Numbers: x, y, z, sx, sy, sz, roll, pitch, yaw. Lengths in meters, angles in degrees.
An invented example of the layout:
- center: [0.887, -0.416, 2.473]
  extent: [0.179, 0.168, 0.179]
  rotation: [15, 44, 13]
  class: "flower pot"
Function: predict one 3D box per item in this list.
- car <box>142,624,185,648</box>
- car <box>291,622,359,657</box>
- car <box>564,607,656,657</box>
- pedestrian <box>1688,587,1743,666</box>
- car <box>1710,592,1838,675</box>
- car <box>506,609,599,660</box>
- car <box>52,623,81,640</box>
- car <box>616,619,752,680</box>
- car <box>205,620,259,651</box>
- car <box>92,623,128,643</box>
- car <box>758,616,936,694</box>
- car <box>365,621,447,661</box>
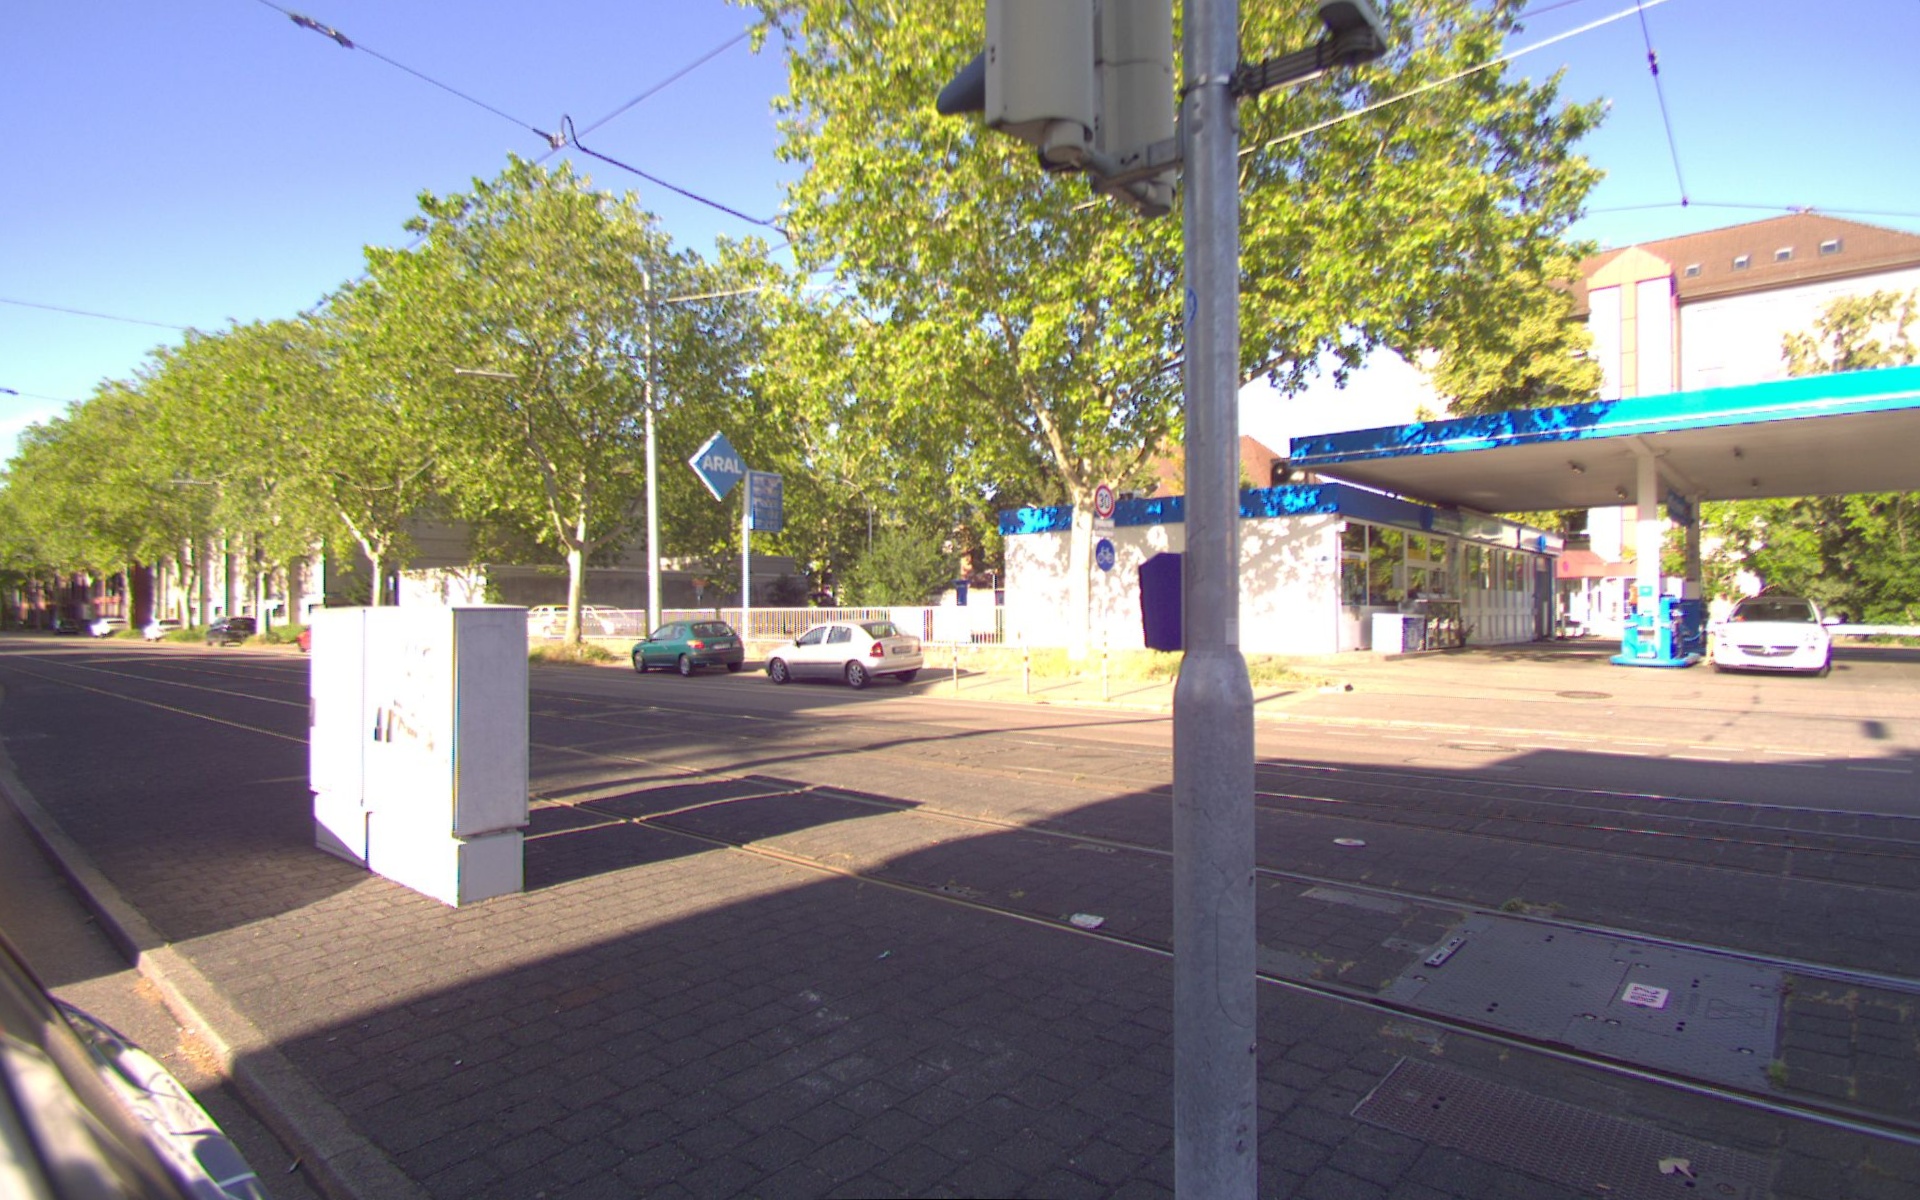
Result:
- center: [-53.635, 2.401, 68.128]
  extent: [3.858, 1.495, 1.735]
  rotation: [-1, 0, 43]
  class: "car"
- center: [-28.909, 1.777, 46.051]
  extent: [3.858, 1.440, 1.695]
  rotation: [-1, 0, 43]
  class: "car"
- center: [-15.143, 1.367, 43.695]
  extent: [3.996, 2.029, 1.974]
  rotation: [-1, -1, 39]
  class: "car"
- center: [16.143, 0.557, 21.624]
  extent: [0.637, 1.642, 0.814]
  rotation: [1, -2, -42]
  class: "pedestrian"
- center: [15.942, 0.617, 19.786]
  extent: [1.793, 1.453, 3.946]
  rotation: [-1, -1, 40]
  class: "car"
- center: [-17.042, 1.397, 42.268]
  extent: [3.996, 2.029, 1.974]
  rotation: [-1, -1, 39]
  class: "car"
- center: [-84.868, 3.015, 96.124]
  extent: [3.858, 1.495, 1.735]
  rotation: [-1, 0, 43]
  class: "car"
- center: [-7.431, 1.277, 27.081]
  extent: [3.858, 1.408, 1.722]
  rotation: [-1, 1, 43]
  class: "car"
- center: [-40.672, 1.958, 56.492]
  extent: [3.858, 1.557, 1.735]
  rotation: [-1, 0, 43]
  class: "car"
- center: [-66.922, 2.582, 79.648]
  extent: [3.858, 1.495, 1.735]
  rotation: [-1, 0, 43]
  class: "car"
- center: [-2.572, 1.170, 22.601]
  extent: [3.857, 1.497, 1.823]
  rotation: [-1, 1, 42]
  class: "car"
- center: [-21.982, 1.591, 40.096]
  extent: [3.858, 1.468, 1.735]
  rotation: [-1, 0, 43]
  class: "car"
